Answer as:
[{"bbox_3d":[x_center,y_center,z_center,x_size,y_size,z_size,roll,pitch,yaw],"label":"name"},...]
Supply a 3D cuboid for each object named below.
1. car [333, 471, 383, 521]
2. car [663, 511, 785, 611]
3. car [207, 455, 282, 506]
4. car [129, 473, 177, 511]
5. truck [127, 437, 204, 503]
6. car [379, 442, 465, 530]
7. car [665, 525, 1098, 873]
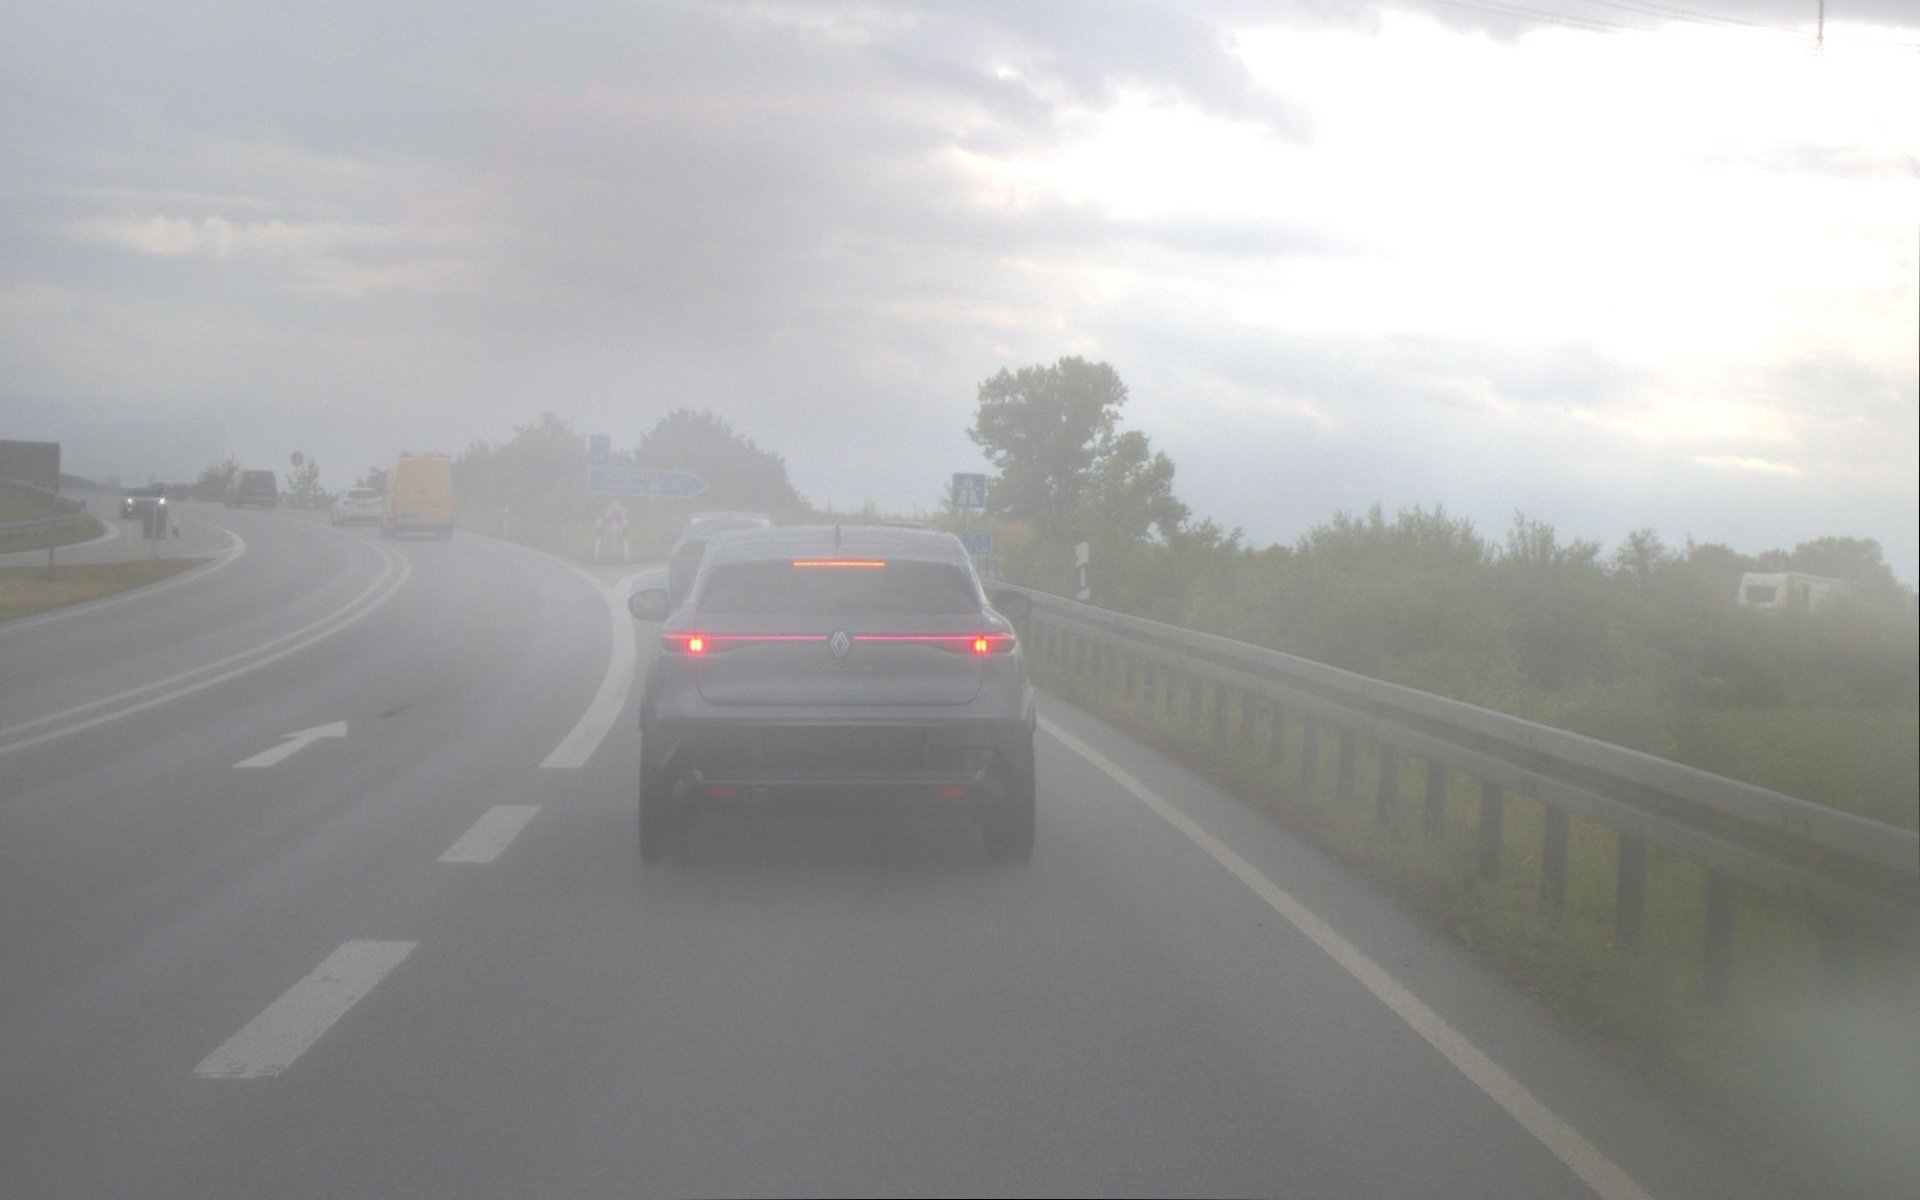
[{"bbox_3d":[-22.630,-3.895,129.178,1.791,1.682,4.001,1,0,-10],"label":"car"},{"bbox_3d":[-3.733,-0.607,54.862,1.791,1.436,4.000,3,0,-3],"label":"car"},{"bbox_3d":[-35.038,-5.806,168.356,2.601,2.243,5.536,1,0,-22],"label":"car"},{"bbox_3d":[-32.514,-4.337,138.443,1.744,1.361,4.051,-3,1,-15],"label":"car"},{"bbox_3d":[-45.008,-7.309,194.582,3.045,3.373,7.646,1,0,-22],"label":"truck"},{"bbox_3d":[-17.289,-3.679,110.242,2.572,2.716,7.199,-1,2,-10],"label":"car"},{"bbox_3d":[-0.416,0.400,16.358,1.791,1.436,4.000,1,0,-3],"label":"car"}]
